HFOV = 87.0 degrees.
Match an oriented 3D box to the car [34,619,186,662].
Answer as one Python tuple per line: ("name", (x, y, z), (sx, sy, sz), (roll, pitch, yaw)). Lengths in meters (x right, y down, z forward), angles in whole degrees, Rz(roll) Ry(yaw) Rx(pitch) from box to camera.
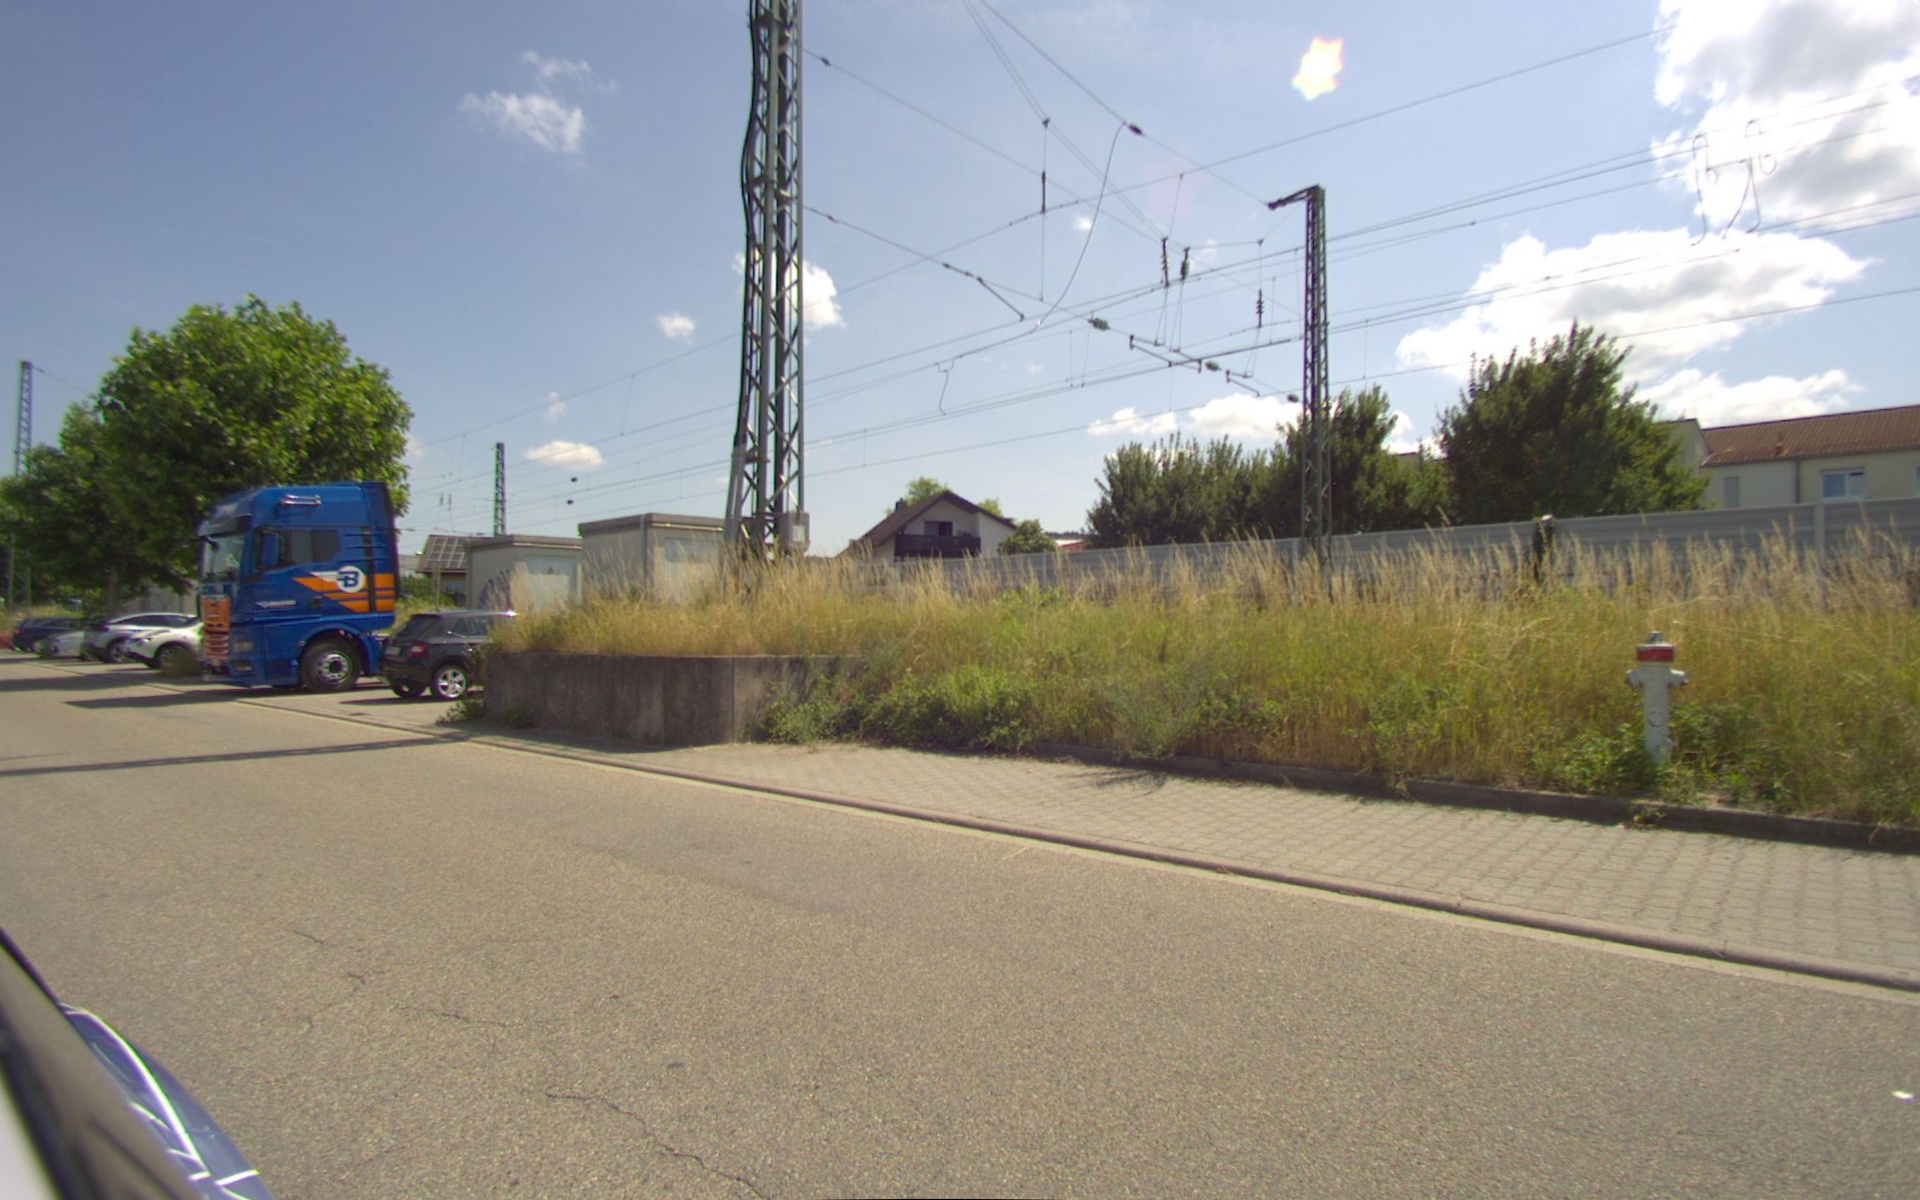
("car", (-31.146, 1.478, 37.152), (1.786, 1.484, 4.031), (-1, -2, 41))

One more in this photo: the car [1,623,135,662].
("car", (-35.714, 1.665, 40.571), (1.788, 1.461, 3.900), (-1, -2, 45))

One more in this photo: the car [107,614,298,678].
("car", (-21.101, 1.244, 28.323), (1.848, 1.630, 3.933), (-1, -2, 37))

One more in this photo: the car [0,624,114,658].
("car", (-40.141, 1.809, 44.718), (1.673, 1.379, 4.031), (-3, -2, 41))

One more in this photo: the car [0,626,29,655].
("car", (-47.536, 1.973, 48.550), (1.784, 1.412, 4.034), (-1, -1, 38))

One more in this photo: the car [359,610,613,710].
("car", (-8.148, 1.000, 17.645), (1.697, 1.511, 3.609), (1, -1, 37))

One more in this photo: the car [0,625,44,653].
("car", (-50.884, 2.028, 52.767), (1.785, 1.421, 4.384), (-1, -2, 38))

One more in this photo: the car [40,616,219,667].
("car", (-27.320, 1.331, 33.397), (1.924, 1.544, 4.294), (-2, -2, 40))

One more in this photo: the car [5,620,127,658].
("car", (-37.480, 1.609, 42.480), (1.682, 1.459, 3.630), (-2, -1, 38))

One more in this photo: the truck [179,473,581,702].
("truck", (-11.367, -0.172, 20.447), (2.661, 3.852, 6.550), (-1, -1, 38))

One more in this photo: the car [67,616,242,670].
("car", (-25.203, 1.299, 31.765), (1.998, 1.559, 3.948), (-1, -1, 38))
